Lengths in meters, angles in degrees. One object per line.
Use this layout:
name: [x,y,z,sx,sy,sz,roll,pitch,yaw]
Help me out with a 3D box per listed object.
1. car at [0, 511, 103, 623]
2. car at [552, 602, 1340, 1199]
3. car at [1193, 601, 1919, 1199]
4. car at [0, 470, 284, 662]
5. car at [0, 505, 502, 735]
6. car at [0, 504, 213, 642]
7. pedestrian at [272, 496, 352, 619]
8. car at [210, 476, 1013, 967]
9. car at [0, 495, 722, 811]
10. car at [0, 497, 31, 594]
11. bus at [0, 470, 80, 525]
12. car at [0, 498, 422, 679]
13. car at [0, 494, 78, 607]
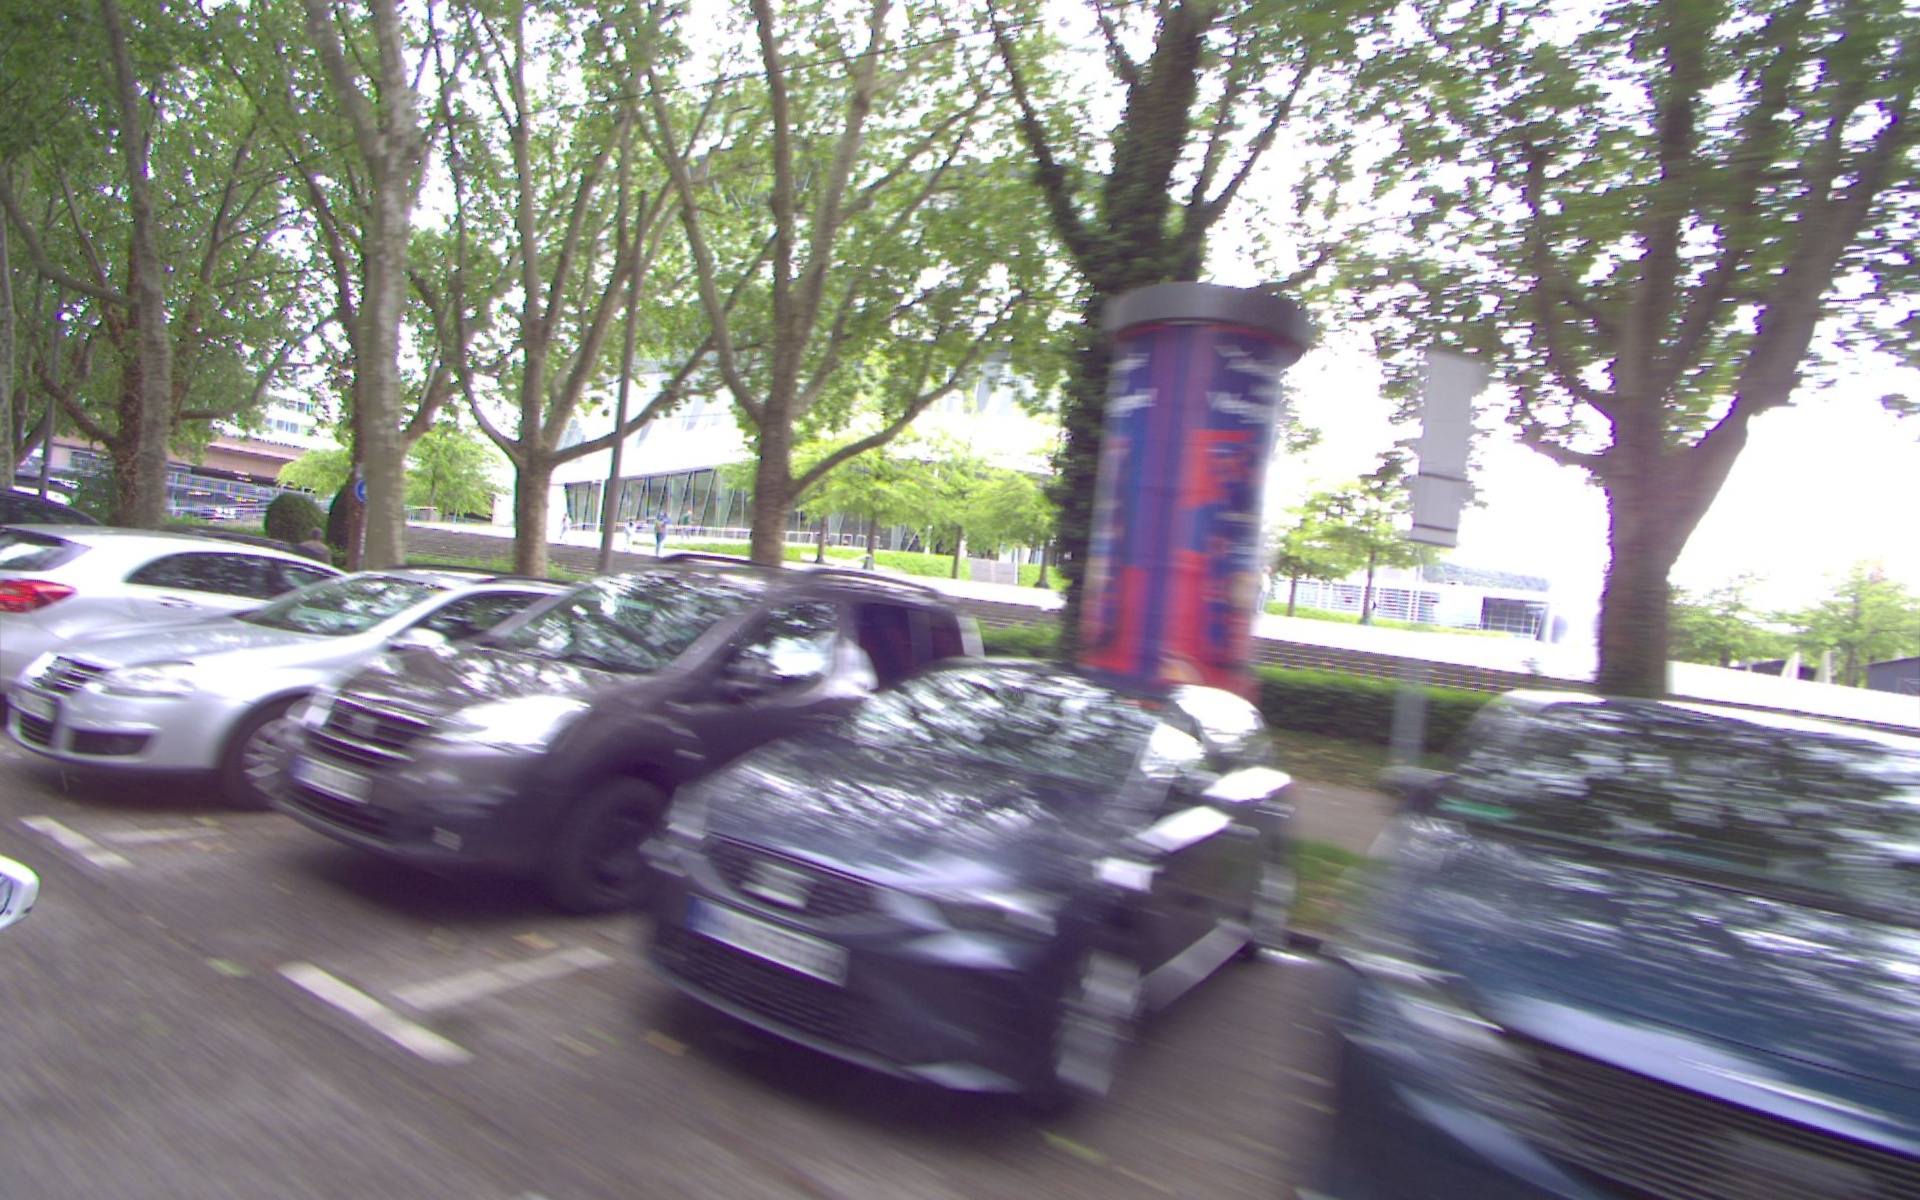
car: [-14.268,-0.670,13.499,1.746,1.418,3.741,7,-3,30]
car: [0.434,1.002,4.771,1.715,1.395,4.049,7,-2,31]
car: [2.531,1.167,3.525,1.842,1.658,4.599,7,-2,33]
car: [-10.262,-0.451,10.889,1.893,1.780,4.358,7,-3,30]
car: [-5.995,0.227,8.324,1.636,1.443,3.650,7,-2,28]
car: [-12.190,-0.487,12.338,1.916,1.472,4.357,7,-2,30]
pedestrian: [-11.366,-0.722,17.662,0.587,2.037,0.788,7,-1,15]
car: [-1.537,0.620,6.121,1.805,1.765,4.358,7,-2,29]
car: [-3.863,0.423,7.078,1.698,1.474,4.157,7,-2,31]
car: [-18.263,-1.247,16.224,1.893,1.623,4.355,7,-2,31]
bus: [-85.937,-9.587,90.035,2.705,3.980,11.097,7,-2,12]
car: [-7.804,-0.054,10.475,1.652,1.511,3.439,7,0,30]
car: [-16.326,-1.037,14.950,1.893,1.652,4.355,7,-2,31]
